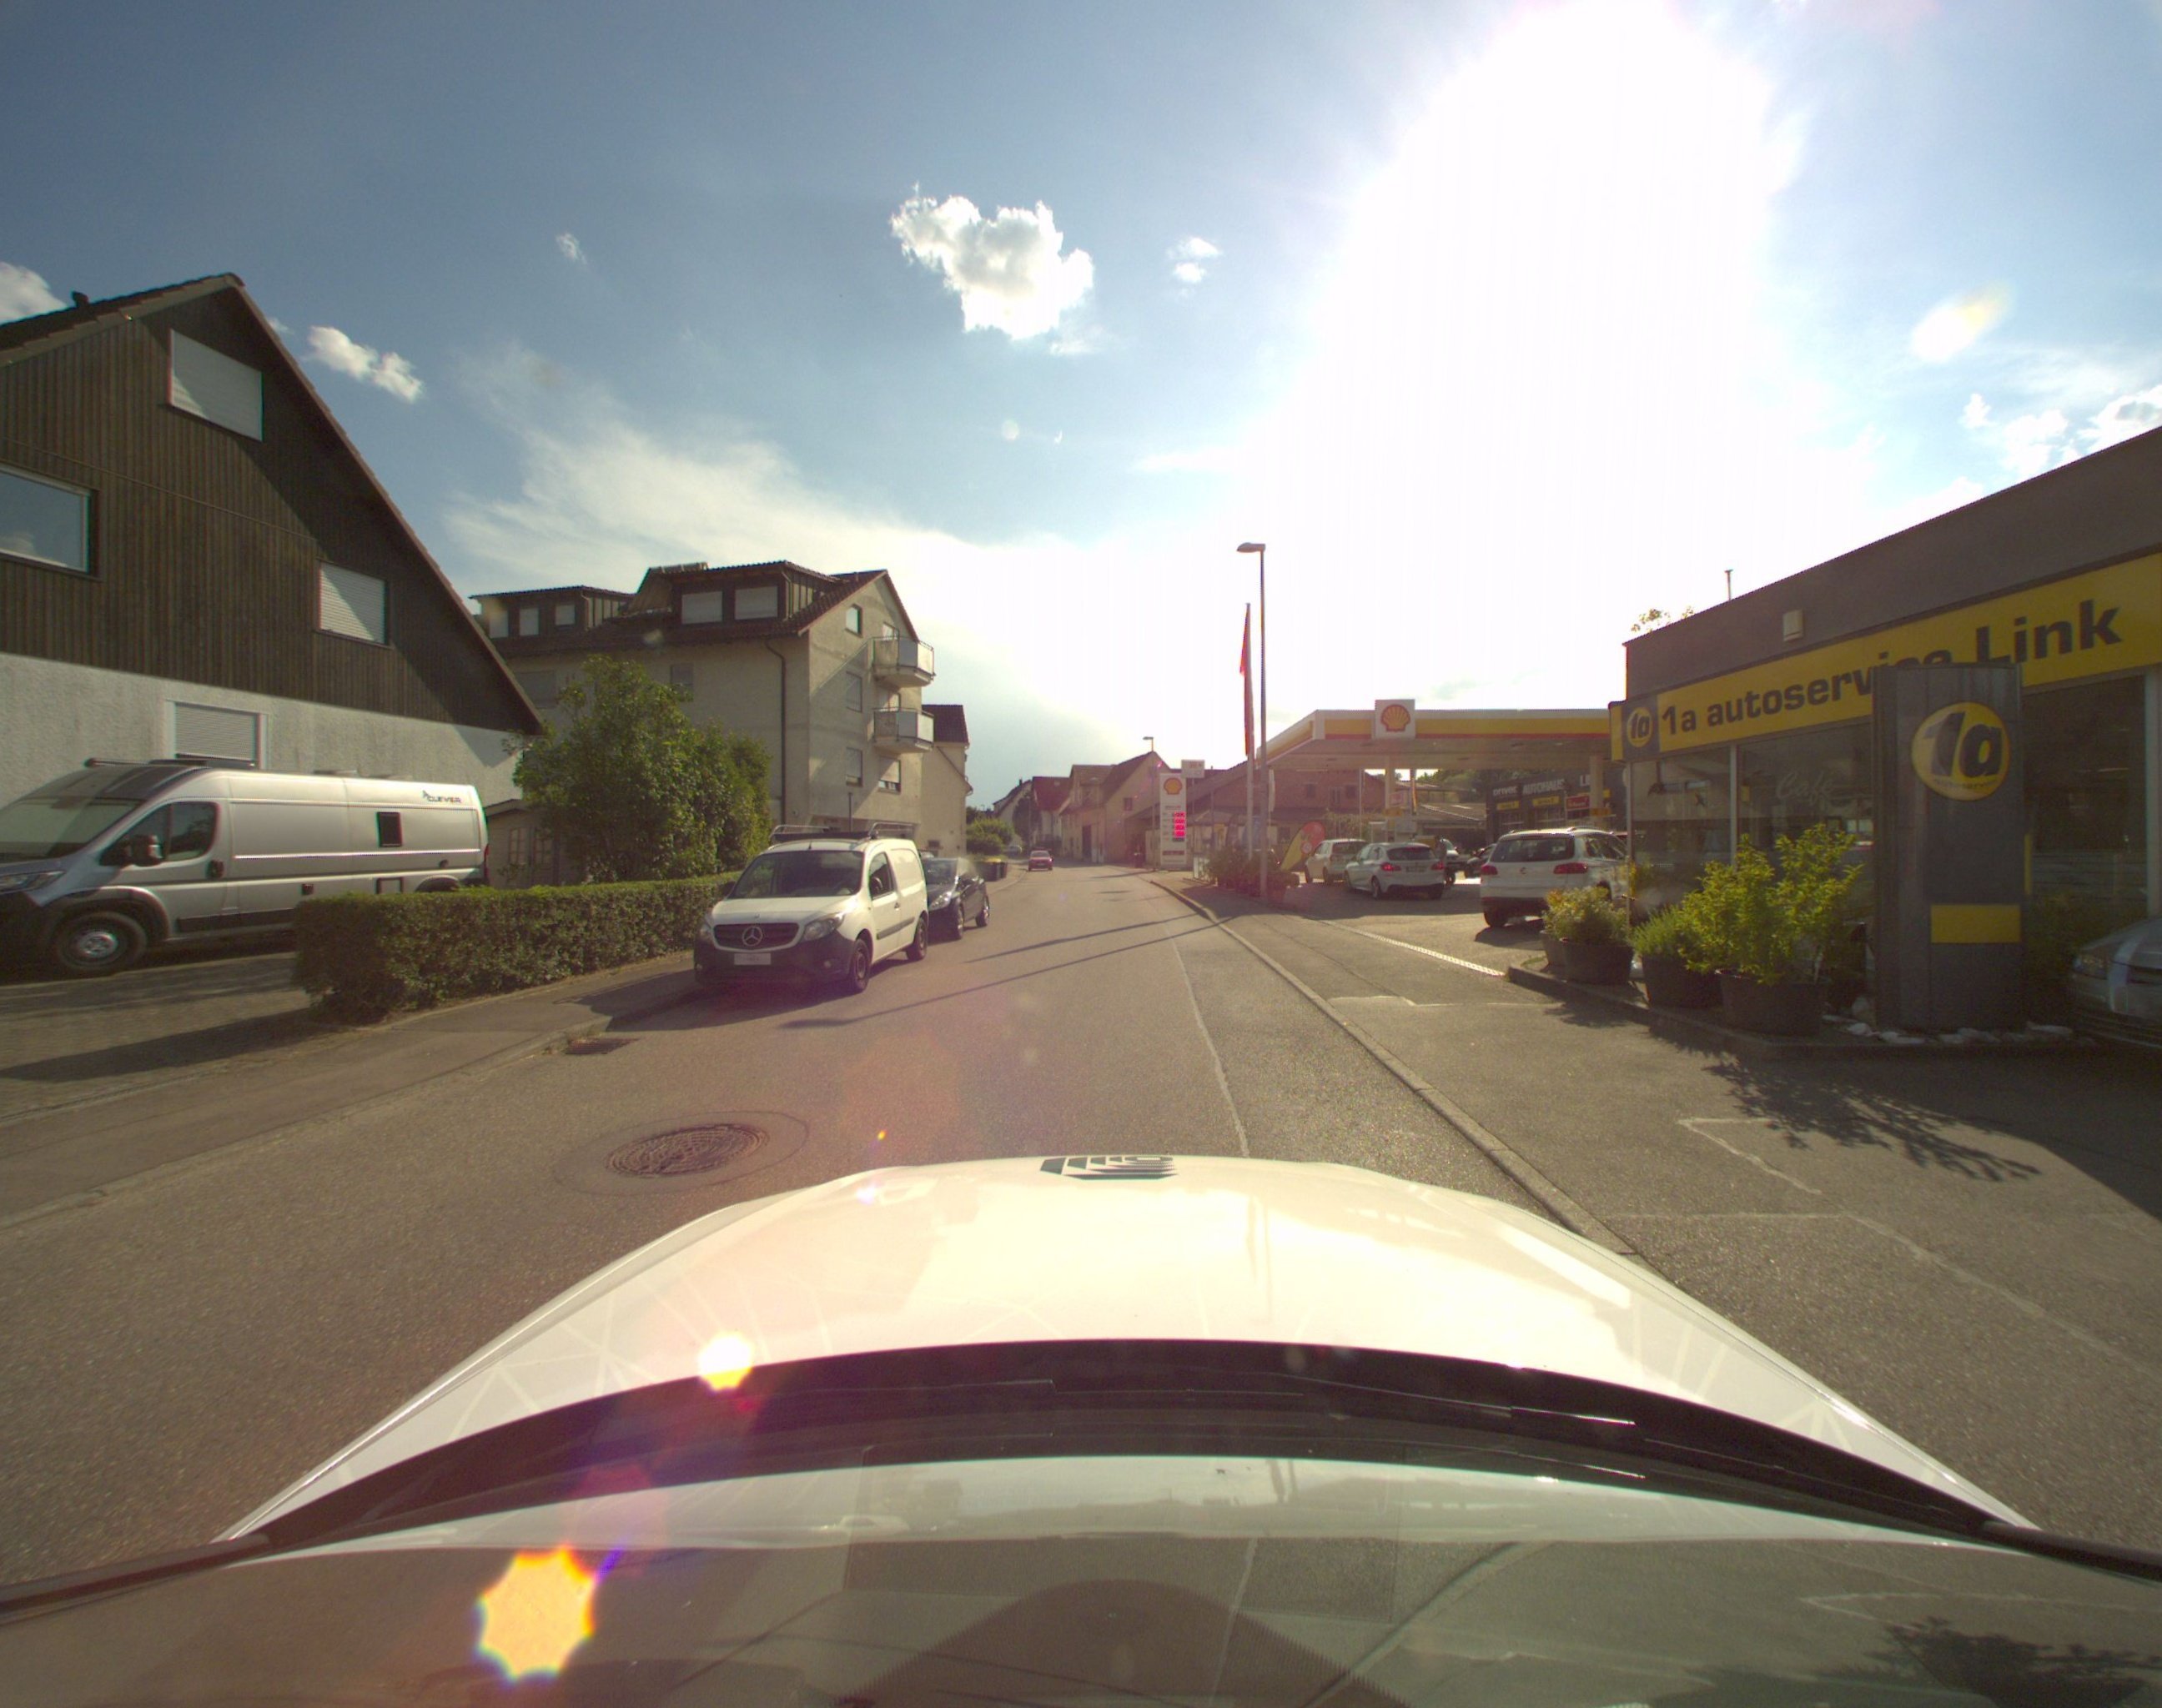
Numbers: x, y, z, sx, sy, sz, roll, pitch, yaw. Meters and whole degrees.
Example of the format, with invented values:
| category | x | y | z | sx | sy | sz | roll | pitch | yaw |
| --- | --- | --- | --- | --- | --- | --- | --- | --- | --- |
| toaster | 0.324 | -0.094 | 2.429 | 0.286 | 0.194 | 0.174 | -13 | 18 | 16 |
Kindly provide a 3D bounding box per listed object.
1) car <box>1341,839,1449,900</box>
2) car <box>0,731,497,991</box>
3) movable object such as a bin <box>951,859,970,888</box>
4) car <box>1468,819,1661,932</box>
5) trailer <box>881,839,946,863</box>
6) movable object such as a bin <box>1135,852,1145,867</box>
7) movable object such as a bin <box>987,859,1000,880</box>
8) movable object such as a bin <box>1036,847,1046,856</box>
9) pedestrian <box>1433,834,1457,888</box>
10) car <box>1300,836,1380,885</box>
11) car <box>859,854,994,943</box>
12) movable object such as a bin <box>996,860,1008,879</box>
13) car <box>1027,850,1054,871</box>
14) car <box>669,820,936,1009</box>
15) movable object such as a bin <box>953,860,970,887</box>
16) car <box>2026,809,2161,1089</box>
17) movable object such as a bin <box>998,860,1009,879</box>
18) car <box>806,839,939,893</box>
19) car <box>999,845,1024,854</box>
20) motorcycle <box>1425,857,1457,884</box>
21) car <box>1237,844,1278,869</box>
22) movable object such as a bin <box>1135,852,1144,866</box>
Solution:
| category | x | y | z | sx | sy | sz | roll | pitch | yaw |
| --- | --- | --- | --- | --- | --- | --- | --- | --- | --- |
| car | 8.919 | 0.388 | 23.481 | 1.666 | 1.577 | 4.000 | -1 | 1 | 1 |
| car | -11.525 | 0.033 | 11.143 | 2.147 | 2.595 | 6.106 | 0 | 1 | 7 |
| movable object such as a bin | -4.722 | 0.765 | 32.035 | 0.597 | 1.071 | 0.619 | 2 | 0 | 1 |
| car | 8.543 | 0.282 | 14.247 | 4.100 | 1.674 | 1.657 | -3 | 0 | -41 |
| trailer | -6.897 | -0.121 | 33.726 | 1.319 | 0.855 | 2.904 | 2 | -1 | 19 |
| movable object such as a bin | 4.365 | 0.404 | 60.334 | 0.651 | 1.073 | 0.513 | -1 | 0 | -2 |
| movable object such as a bin | -4.658 | 0.813 | 43.375 | 0.586 | 1.084 | 0.508 | -2 | 0 | 1 |
| movable object such as a bin | -5.364 | -0.387 | 109.391 | 1.161 | 1.168 | 0.652 | -1 | 0 | -11 |
| pedestrian | 11.347 | 0.205 | 25.418 | 0.498 | 1.670 | 0.534 | -1 | 0 | 1 |
| car | 9.109 | 0.183 | 28.979 | 1.666 | 1.577 | 4.000 | -1 | 1 | 1 |
| car | -2.827 | 0.756 | 15.708 | 1.666 | 1.451 | 3.837 | -1 | 0 | 3 |
| movable object such as a bin | -4.385 | 0.831 | 45.211 | 0.529 | 1.022 | 0.457 | -2 | 0 | 1 |
| car | -3.031 | 0.438 | 60.435 | 1.707 | 1.434 | 3.770 | -2 | 0 | -7 |
| car | -3.197 | 0.599 | 10.330 | 1.709 | 1.872 | 4.195 | -2 | 0 | 3 |
| movable object such as a bin | -4.798 | 0.771 | 32.720 | 0.568 | 1.071 | 0.558 | 2 | 0 | 1 |
| car | 7.914 | 0.490 | 4.462 | 3.979 | 1.531 | 1.525 | -1 | 0 | -5 |
| movable object such as a bin | -4.341 | 0.851 | 45.722 | 0.529 | 1.022 | 0.457 | -2 | 0 | 1 |
| car | -7.134 | 0.378 | 27.995 | 3.960 | 1.538 | 1.769 | 4 | 1 | 13 |
| car | -11.109 | -0.681 | 129.702 | 3.984 | 1.352 | 1.706 | -1 | 0 | -8 |
| motorcycle | 12.275 | 0.539 | 27.809 | 0.391 | 0.874 | 1.814 | -1 | 0 | 4 |
| car | 10.576 | 0.134 | 49.103 | 1.573 | 1.427 | 4.381 | 0 | 1 | 0 |
| movable object such as a bin | 4.367 | 0.382 | 60.874 | 0.651 | 1.073 | 0.513 | -1 | 0 | -2 |
